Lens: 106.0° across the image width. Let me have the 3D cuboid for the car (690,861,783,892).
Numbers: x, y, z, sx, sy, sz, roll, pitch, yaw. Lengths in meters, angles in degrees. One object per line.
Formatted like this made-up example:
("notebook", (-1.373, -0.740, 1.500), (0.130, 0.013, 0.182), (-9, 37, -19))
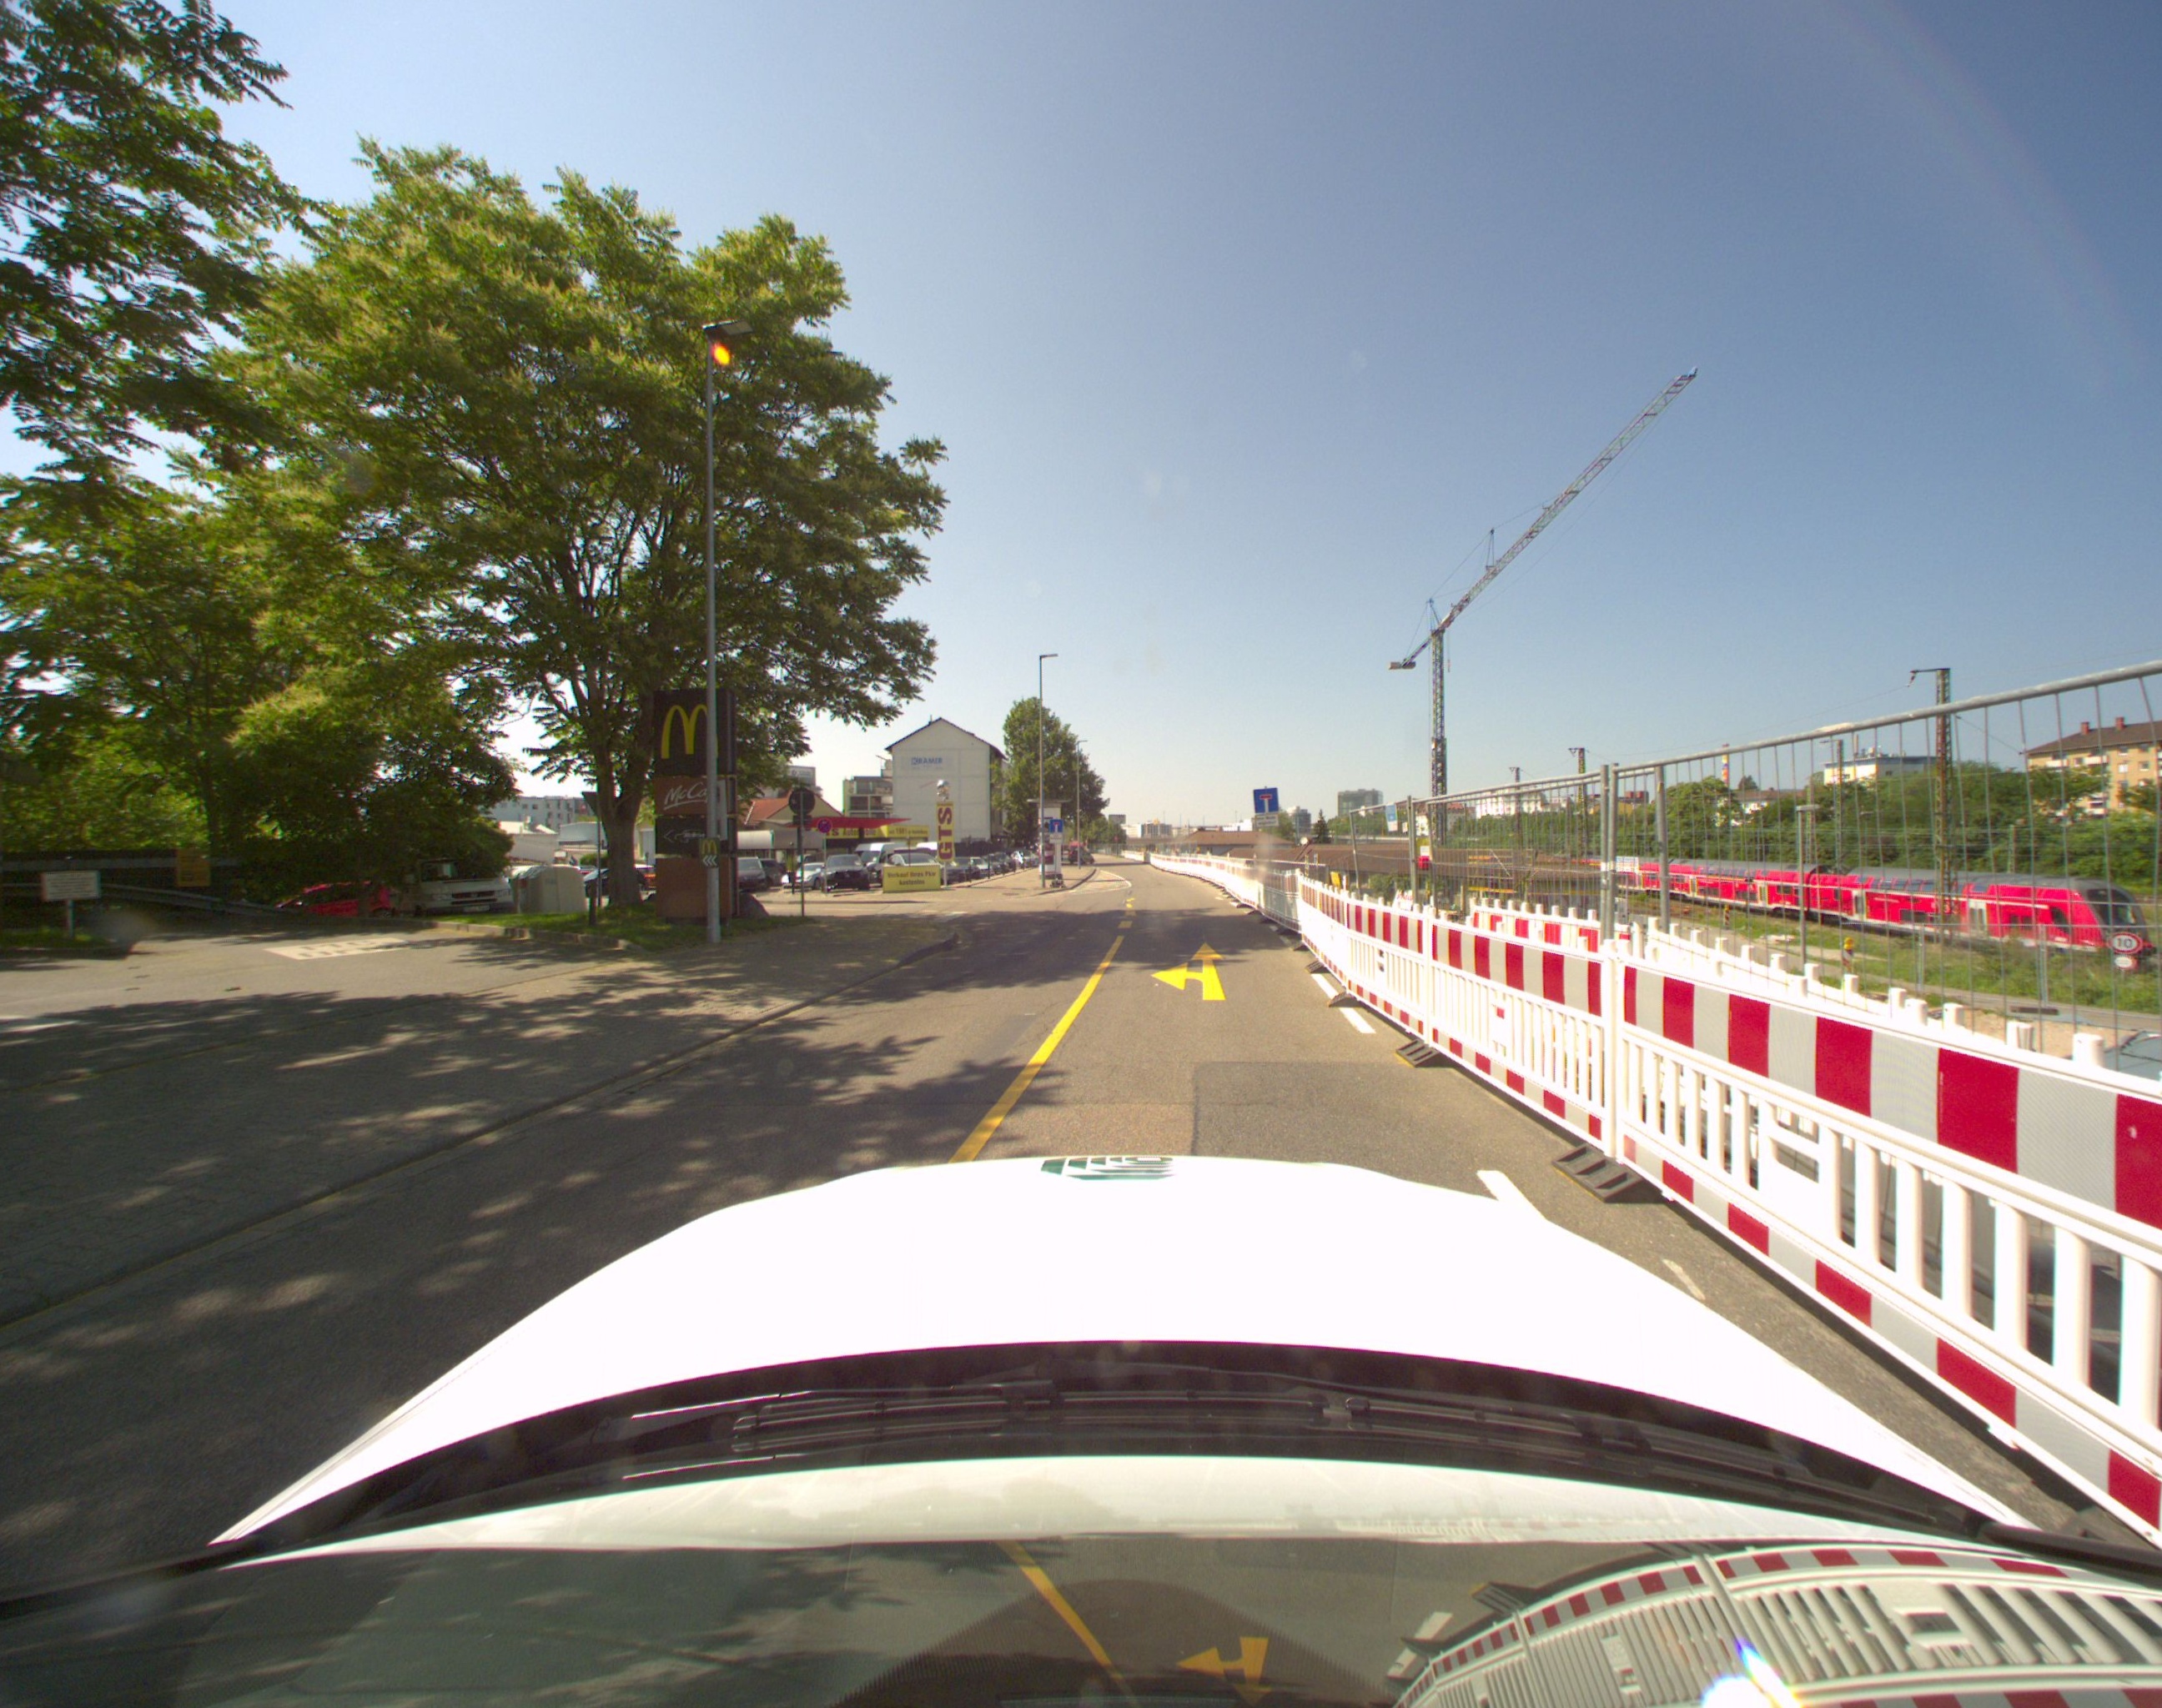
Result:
("car", (-18.645, 1.163, 44.167), (4.352, 1.585, 1.979), (0, -1, -35))

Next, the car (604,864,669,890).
("car", (-28.285, 1.461, 51.802), (3.948, 1.585, 2.013), (-1, -1, 34))

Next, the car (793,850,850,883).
("car", (-16.631, 0.788, 52.486), (1.985, 2.014, 4.500), (0, -1, 4))

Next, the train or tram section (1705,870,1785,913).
("train or tram section", (64.738, 3.560, 79.675), (2.990, 3.703, 9.013), (2, 0, 18))

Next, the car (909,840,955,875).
("car", (-10.222, 0.210, 56.234), (2.127, 2.284, 4.713), (-1, 0, 2))

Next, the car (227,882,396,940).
("car", (-23.068, 1.660, 24.534), (1.467, 1.378, 3.437), (1, 2, 34))

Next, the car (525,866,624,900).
("car", (-27.175, 1.491, 43.806), (1.974, 1.706, 4.025), (-1, -1, 32))

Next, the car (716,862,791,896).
("car", (-15.305, 1.135, 38.292), (1.781, 1.510, 4.002), (0, -1, 2))

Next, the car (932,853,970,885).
("car", (-6.995, 0.755, 43.652), (1.857, 1.629, 3.984), (-1, 0, -11))

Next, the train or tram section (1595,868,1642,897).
("train or tram section", (75.272, 3.878, 114.212), (2.991, 3.703, 9.010), (2, 0, 16))

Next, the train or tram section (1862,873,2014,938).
("train or tram section", (56.460, 3.206, 54.073), (2.990, 3.714, 9.013), (2, 0, 18))

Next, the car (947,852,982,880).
("car", (-7.095, 0.703, 49.260), (1.857, 1.629, 3.984), (-1, 0, -11))

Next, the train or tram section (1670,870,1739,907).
("train or tram section", (67.456, 3.630, 88.395), (2.991, 3.703, 9.012), (2, 0, 17))

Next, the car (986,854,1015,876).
("car", (-6.304, 0.837, 63.591), (1.857, 1.629, 3.984), (-1, 0, -11))

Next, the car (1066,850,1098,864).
("car", (0.082, 0.336, 92.281), (3.296, 1.637, 1.707), (0, -1, -38))

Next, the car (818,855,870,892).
("car", (-10.899, 0.854, 37.279), (2.053, 1.594, 4.394), (0, -1, -20))

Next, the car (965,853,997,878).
("car", (-6.750, 0.755, 54.857), (1.857, 1.629, 3.984), (-1, 0, -11))

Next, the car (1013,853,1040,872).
("car", (-4.832, 0.733, 71.509), (1.857, 1.629, 3.984), (-1, 0, -11))

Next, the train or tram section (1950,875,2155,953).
("train or tram section", (53.713, 3.117, 45.536), (2.991, 3.701, 9.013), (2, 0, 18))

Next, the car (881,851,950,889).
("car", (-7.918, 0.751, 38.766), (2.006, 1.725, 3.960), (0, -1, -31))

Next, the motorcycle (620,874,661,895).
("motorcycle", (-24.883, 1.713, 46.028), (0.780, 1.158, 1.886), (-1, -1, 44))

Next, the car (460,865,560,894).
("car", (-35.256, 1.533, 50.425), (1.975, 1.726, 4.681), (-1, -1, 25))

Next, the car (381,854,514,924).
("car", (-16.462, 0.804, 21.052), (4.968, 1.583, 1.970), (0, 0, 43))

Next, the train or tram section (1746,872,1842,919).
("train or tram section", (61.986, 3.487, 71.120), (2.990, 3.703, 9.013), (2, 0, 18))

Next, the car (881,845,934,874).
("car", (-10.621, 0.320, 50.196), (1.868, 1.738, 4.728), (0, 0, 4))

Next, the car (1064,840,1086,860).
("car", (-0.716, -0.515, 106.308), (2.527, 2.520, 5.122), (0, -1, 3))

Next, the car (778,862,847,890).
("car", (-14.502, 1.157, 44.139), (1.776, 1.487, 4.012), (0, -1, 11))

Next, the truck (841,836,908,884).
("truck", (-13.295, 0.355, 52.916), (2.257, 2.904, 5.953), (0, 0, 6))

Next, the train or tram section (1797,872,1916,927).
("train or tram section", (59.221, 3.356, 62.581), (2.990, 3.712, 9.013), (2, 0, 18))
